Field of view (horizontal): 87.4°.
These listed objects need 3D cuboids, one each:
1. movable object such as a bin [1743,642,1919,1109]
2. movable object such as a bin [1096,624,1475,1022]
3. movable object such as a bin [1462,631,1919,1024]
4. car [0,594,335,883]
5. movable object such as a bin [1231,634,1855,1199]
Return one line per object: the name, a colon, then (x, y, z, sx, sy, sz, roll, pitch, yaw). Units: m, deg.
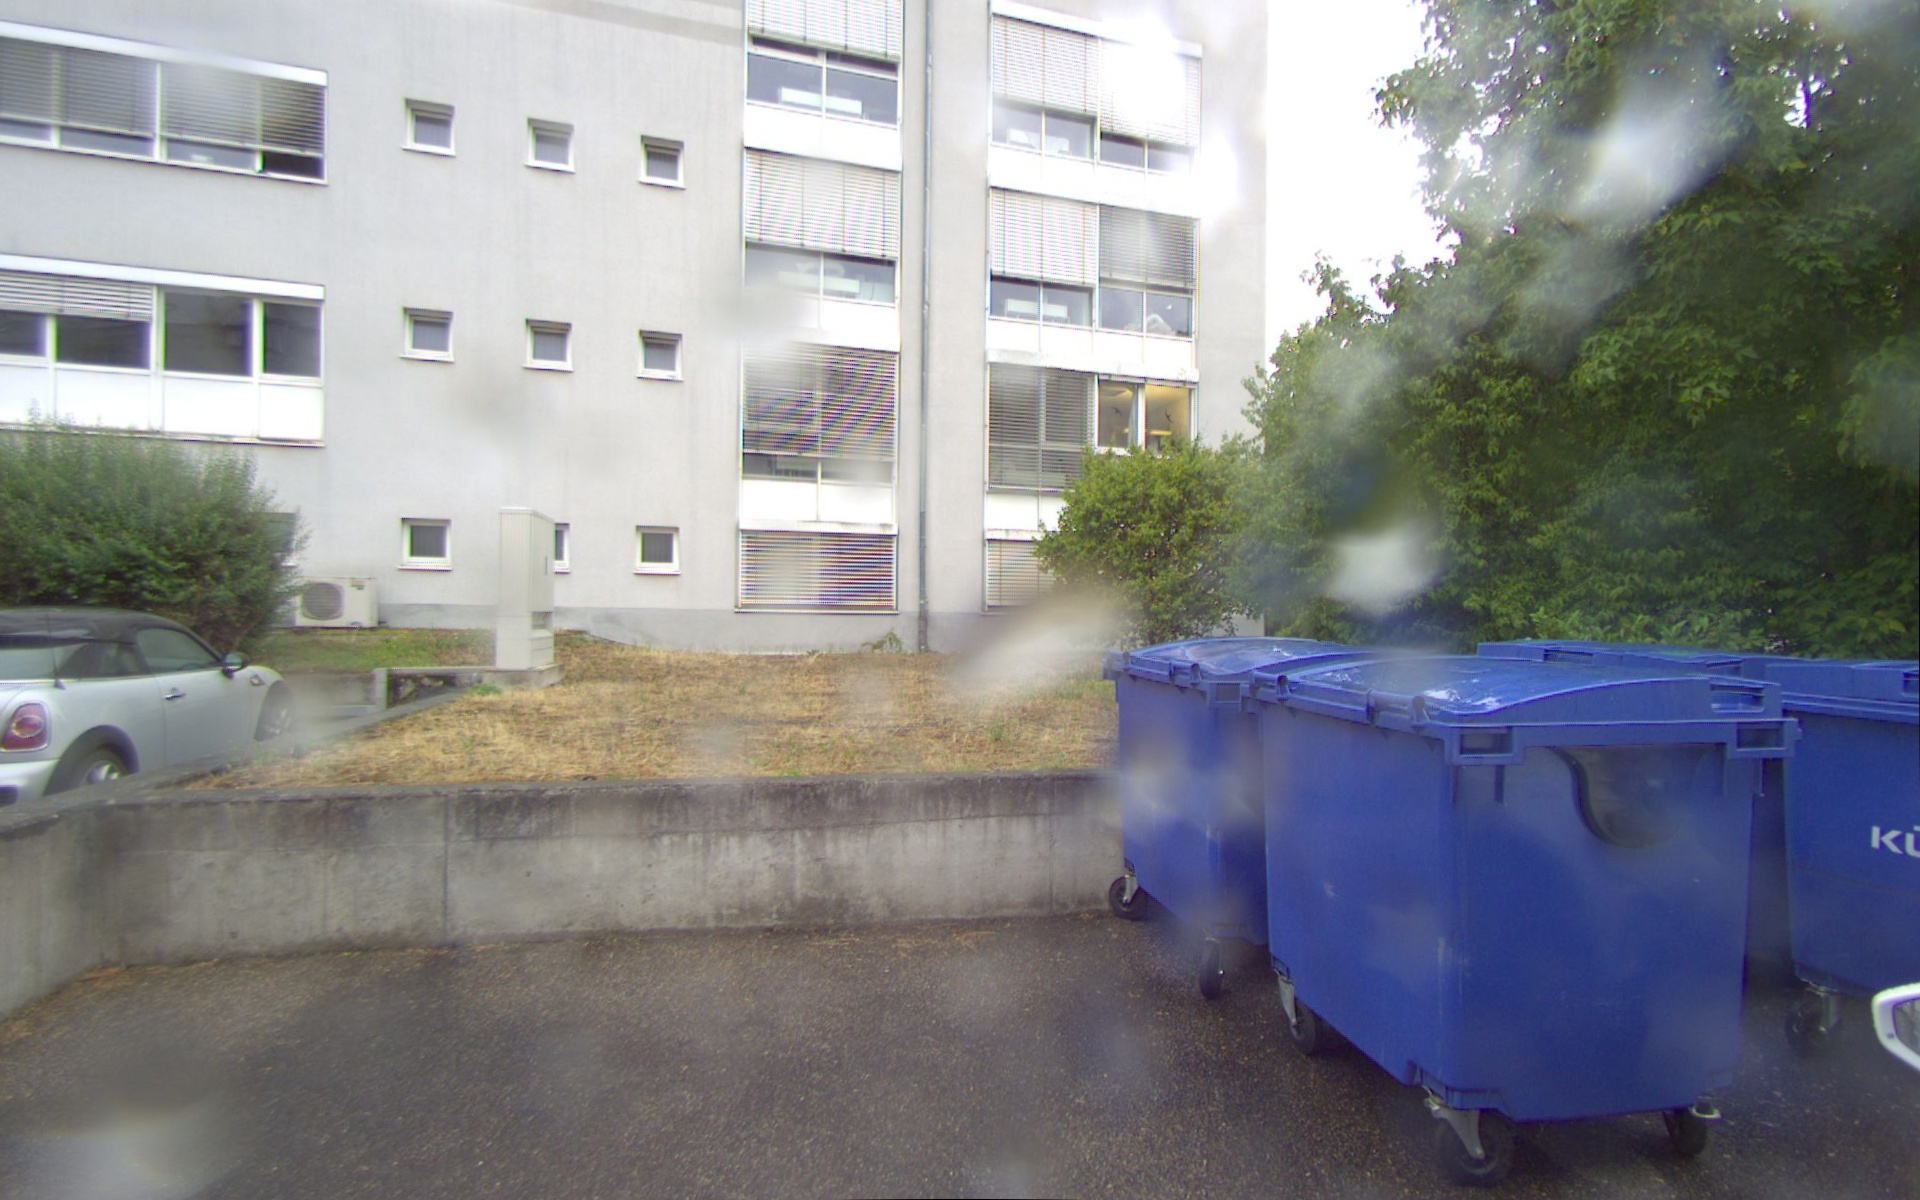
movable object such as a bin: (3.313, 0.819, 2.983, 0.989, 1.355, 1.223, 0, -1, -11)
movable object such as a bin: (1.300, 0.817, 4.287, 1.097, 1.355, 1.204, -1, 1, -11)
movable object such as a bin: (2.978, 0.825, 4.247, 0.988, 1.355, 1.223, 0, 0, -11)
car: (-6.025, 0.690, 6.877, 1.792, 1.351, 4.165, 0, 2, -15)
movable object such as a bin: (1.574, 0.801, 2.991, 1.096, 1.355, 1.205, 1, -1, -7)
